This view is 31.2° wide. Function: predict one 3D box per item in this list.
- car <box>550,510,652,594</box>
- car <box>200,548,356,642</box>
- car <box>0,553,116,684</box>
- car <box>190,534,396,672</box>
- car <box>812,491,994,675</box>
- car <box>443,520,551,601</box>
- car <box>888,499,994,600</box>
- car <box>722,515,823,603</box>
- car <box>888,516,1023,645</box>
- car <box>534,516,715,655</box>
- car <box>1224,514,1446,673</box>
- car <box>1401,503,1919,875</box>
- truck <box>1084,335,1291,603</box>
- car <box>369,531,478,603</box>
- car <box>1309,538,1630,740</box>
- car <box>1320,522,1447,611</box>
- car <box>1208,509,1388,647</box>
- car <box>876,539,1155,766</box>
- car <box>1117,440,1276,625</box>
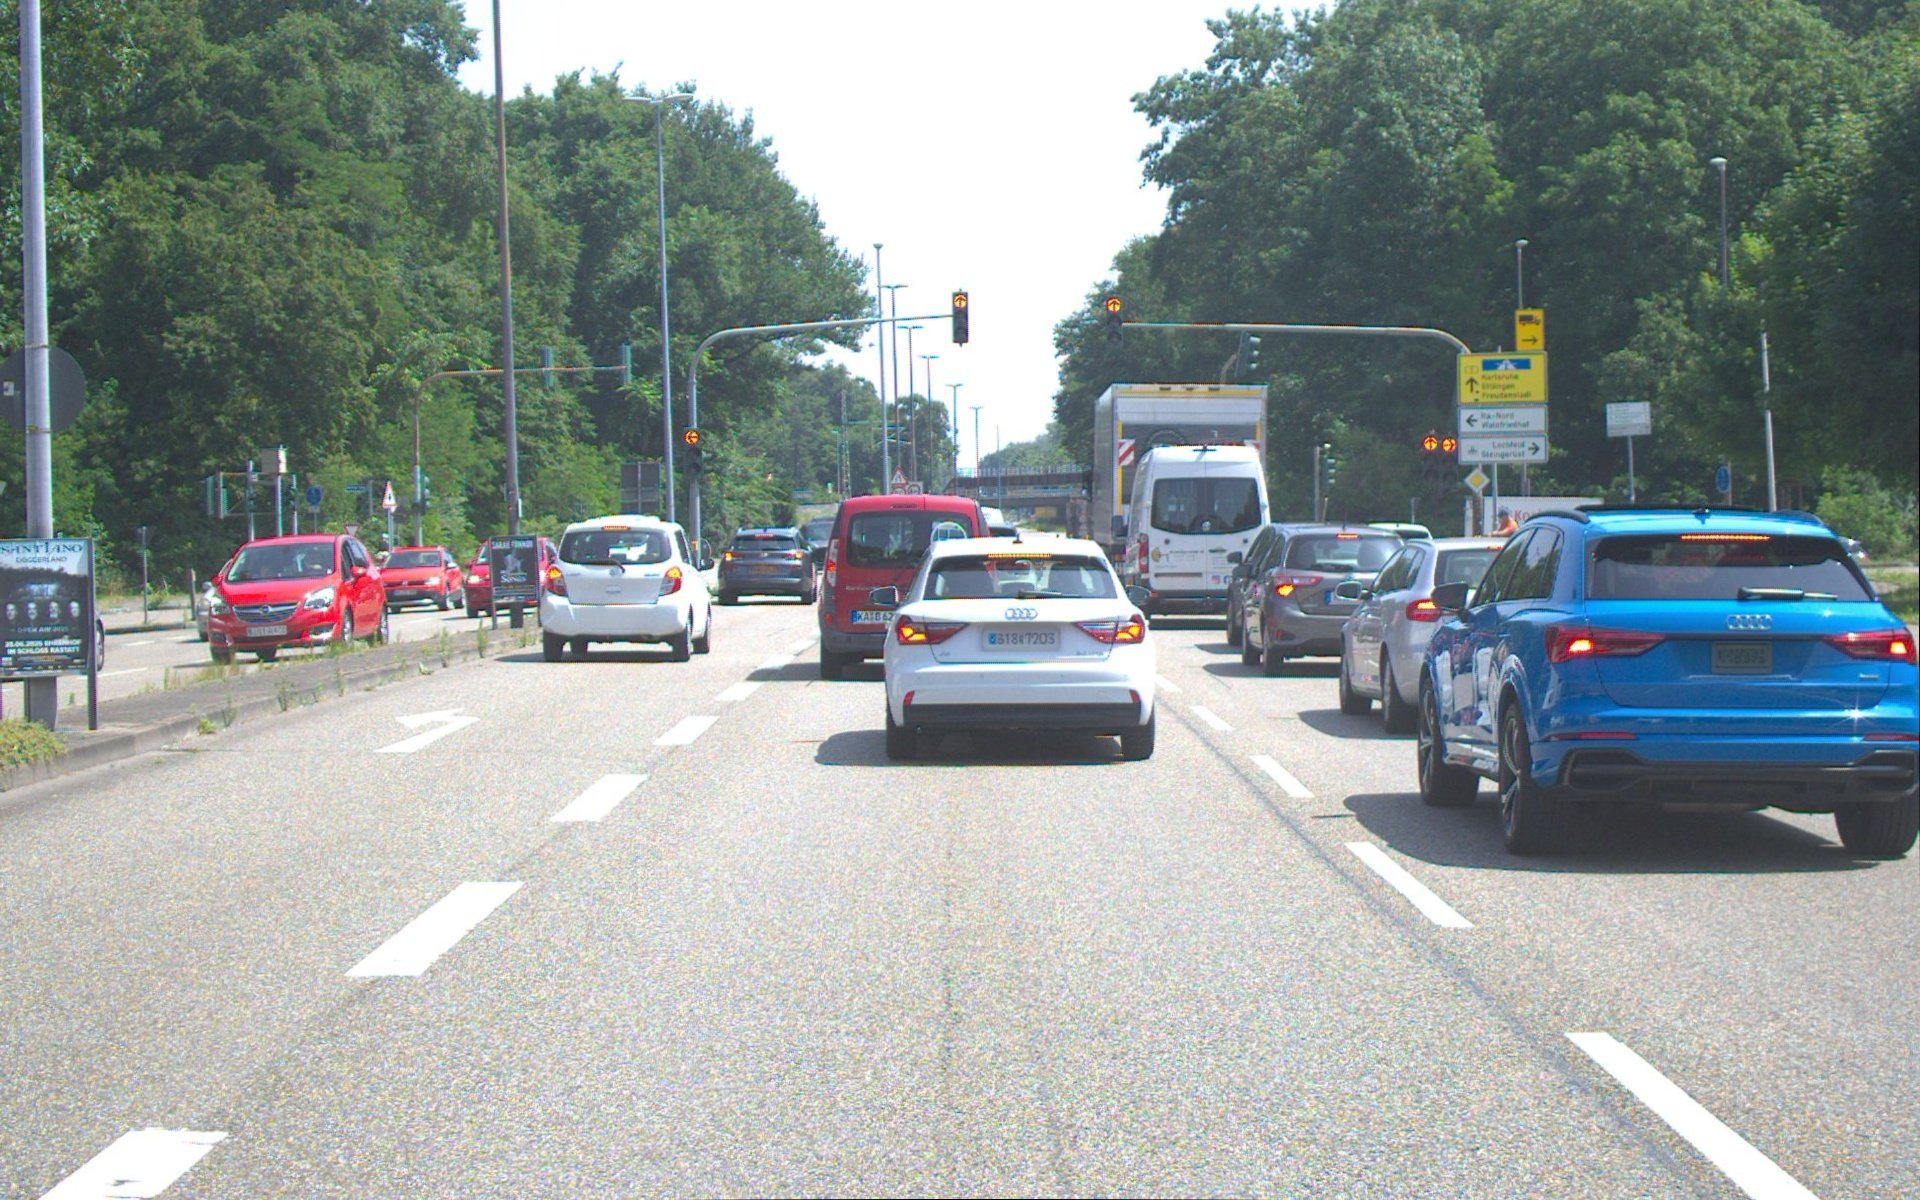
[{"bbox_3d":[-8.954,-1.219,86.055,1.993,1.939,4.909,-3,1,-1],"label":"car"},{"bbox_3d":[-11.675,-0.121,59.092,1.777,1.399,4.360,-4,1,-1],"label":"car"},{"bbox_3d":[-11.680,0.227,41.756,1.749,1.446,4.133,-3,1,0],"label":"car"},{"bbox_3d":[-8.483,-0.006,44.052,1.749,1.564,4.153,-3,1,0],"label":"car"},{"bbox_3d":[-0.573,-0.206,34.556,1.712,1.742,4.092,0,1,-1],"label":"car"},{"bbox_3d":[-8.834,-0.777,65.848,1.580,1.436,3.609,-3,1,-1],"label":"car"},{"bbox_3d":[-0.338,-0.867,57.662,1.712,1.626,4.092,0,1,-1],"label":"car"},{"bbox_3d":[-3.572,-0.810,66.033,1.774,1.635,4.037,0,1,-1],"label":"car"},{"bbox_3d":[-0.088,-0.292,45.661,1.712,1.626,4.092,0,1,-1],"label":"car"},{"bbox_3d":[-3.741,-0.199,38.857,1.712,1.487,4.092,0,1,-1],"label":"car"},{"bbox_3d":[3.813,-0.109,35.544,1.712,1.473,4.092,2,1,-1],"label":"car"},{"bbox_3d":[3.393,0.331,16.993,1.837,1.590,4.400,0,1,0],"label":"car"},{"bbox_3d":[3.967,-2.295,62.593,3.088,4.418,11.580,0,1,1],"label":"truck"},{"bbox_3d":[-11.952,-0.765,76.764,1.705,1.447,3.891,-4,1,1],"label":"car"},{"bbox_3d":[3.735,0.233,25.848,1.712,1.357,4.092,1,1,-1],"label":"car"},{"bbox_3d":[7.535,-0.629,61.487,1.712,1.541,4.092,0,1,-1],"label":"car"},{"bbox_3d":[4.038,-0.297,41.626,1.712,1.587,4.092,0,1,-1],"label":"car"},{"bbox_3d":[0.307,0.286,23.194,1.712,1.381,4.092,0,1,-1],"label":"car"},{"bbox_3d":[3.486,-1.011,51.515,2.031,2.635,4.845,0,1,0],"label":"car"}]
